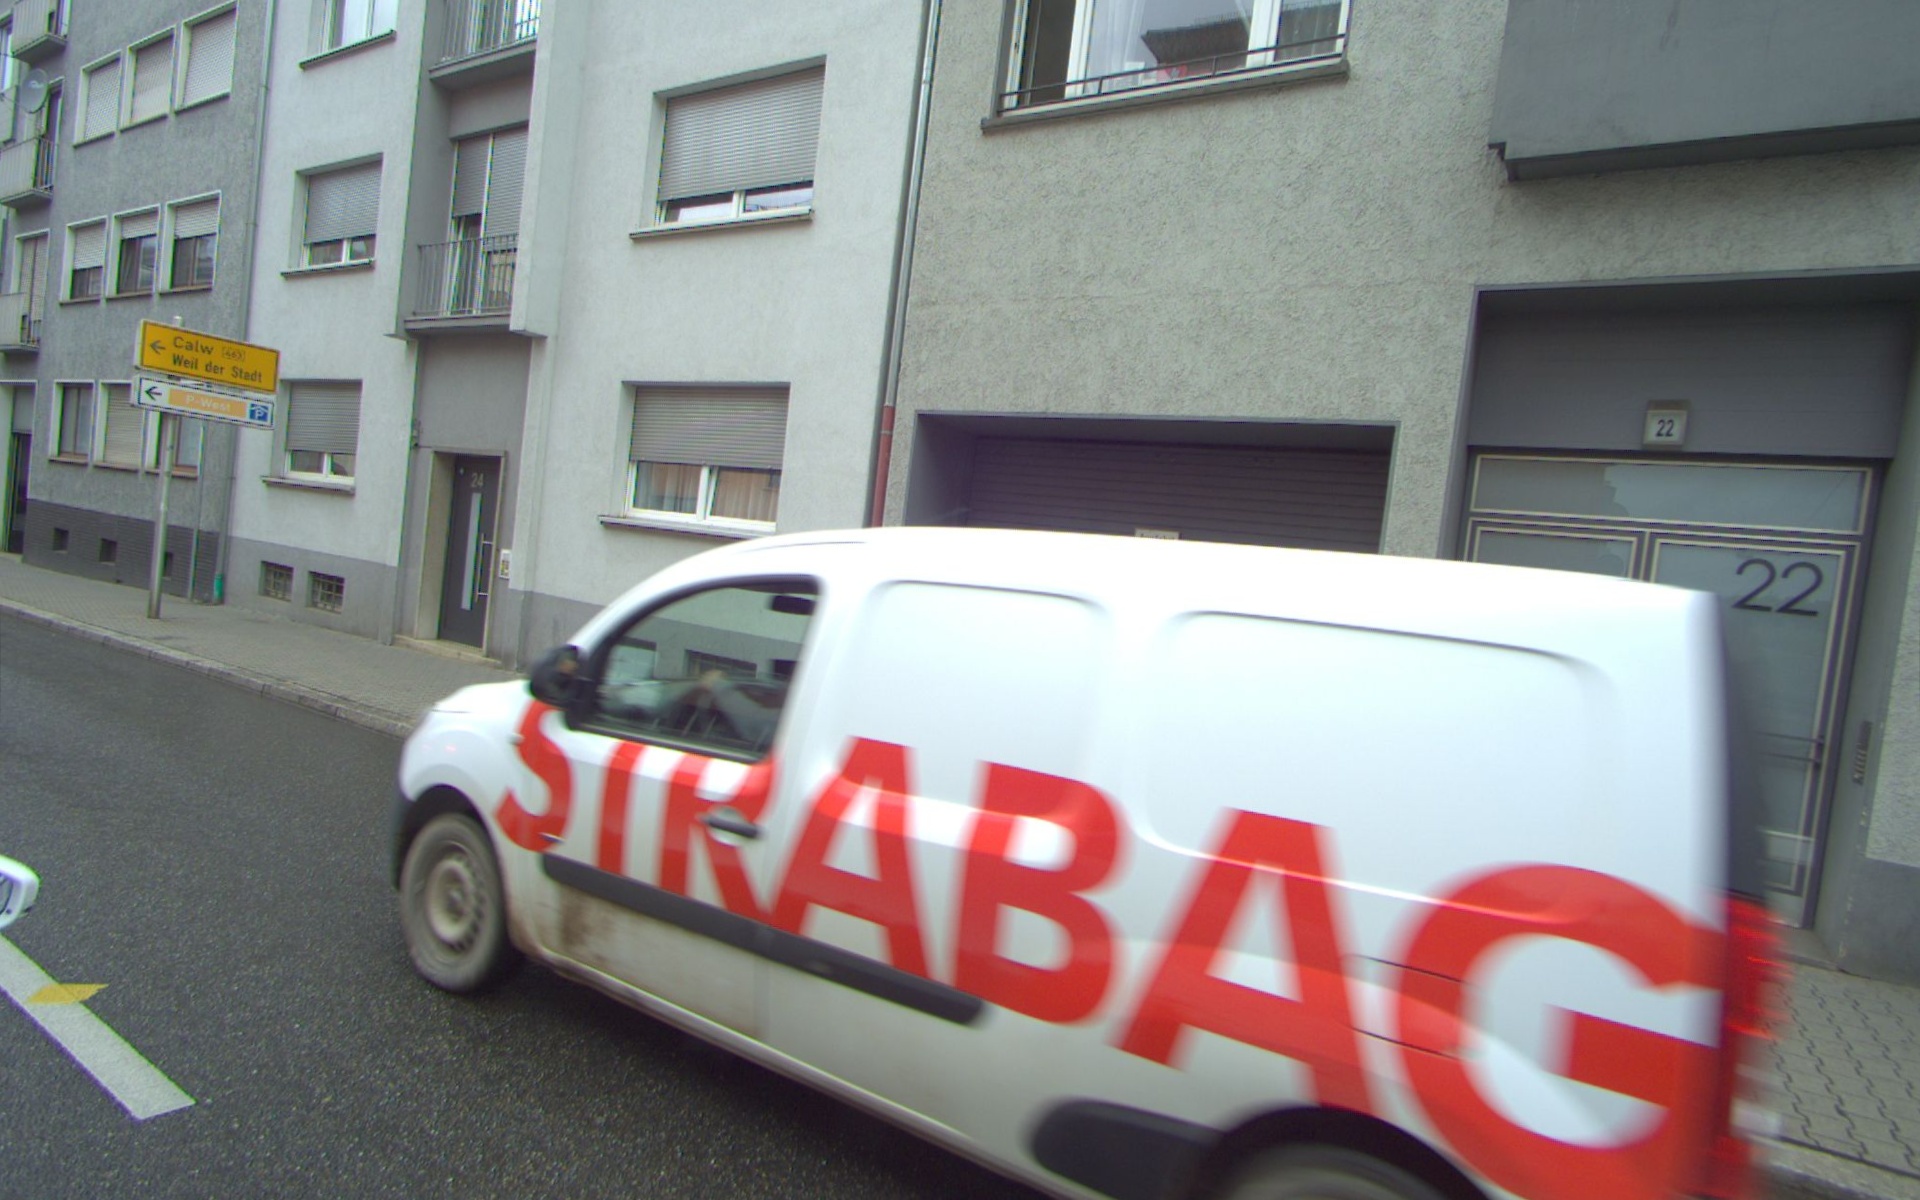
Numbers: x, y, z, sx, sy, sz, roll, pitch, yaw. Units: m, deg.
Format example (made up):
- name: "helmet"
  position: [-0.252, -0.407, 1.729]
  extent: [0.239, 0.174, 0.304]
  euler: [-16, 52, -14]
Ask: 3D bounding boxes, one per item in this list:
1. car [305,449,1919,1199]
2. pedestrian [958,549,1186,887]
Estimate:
- name: "car"
  position: [0.071, 0.626, 3.331]
  extent: [4.670, 1.796, 1.942]
  euler: [7, -1, 34]
- name: "pedestrian"
  position: [0.671, 0.647, 6.070]
  extent: [1.039, 1.803, 0.643]
  euler: [7, 4, 31]
